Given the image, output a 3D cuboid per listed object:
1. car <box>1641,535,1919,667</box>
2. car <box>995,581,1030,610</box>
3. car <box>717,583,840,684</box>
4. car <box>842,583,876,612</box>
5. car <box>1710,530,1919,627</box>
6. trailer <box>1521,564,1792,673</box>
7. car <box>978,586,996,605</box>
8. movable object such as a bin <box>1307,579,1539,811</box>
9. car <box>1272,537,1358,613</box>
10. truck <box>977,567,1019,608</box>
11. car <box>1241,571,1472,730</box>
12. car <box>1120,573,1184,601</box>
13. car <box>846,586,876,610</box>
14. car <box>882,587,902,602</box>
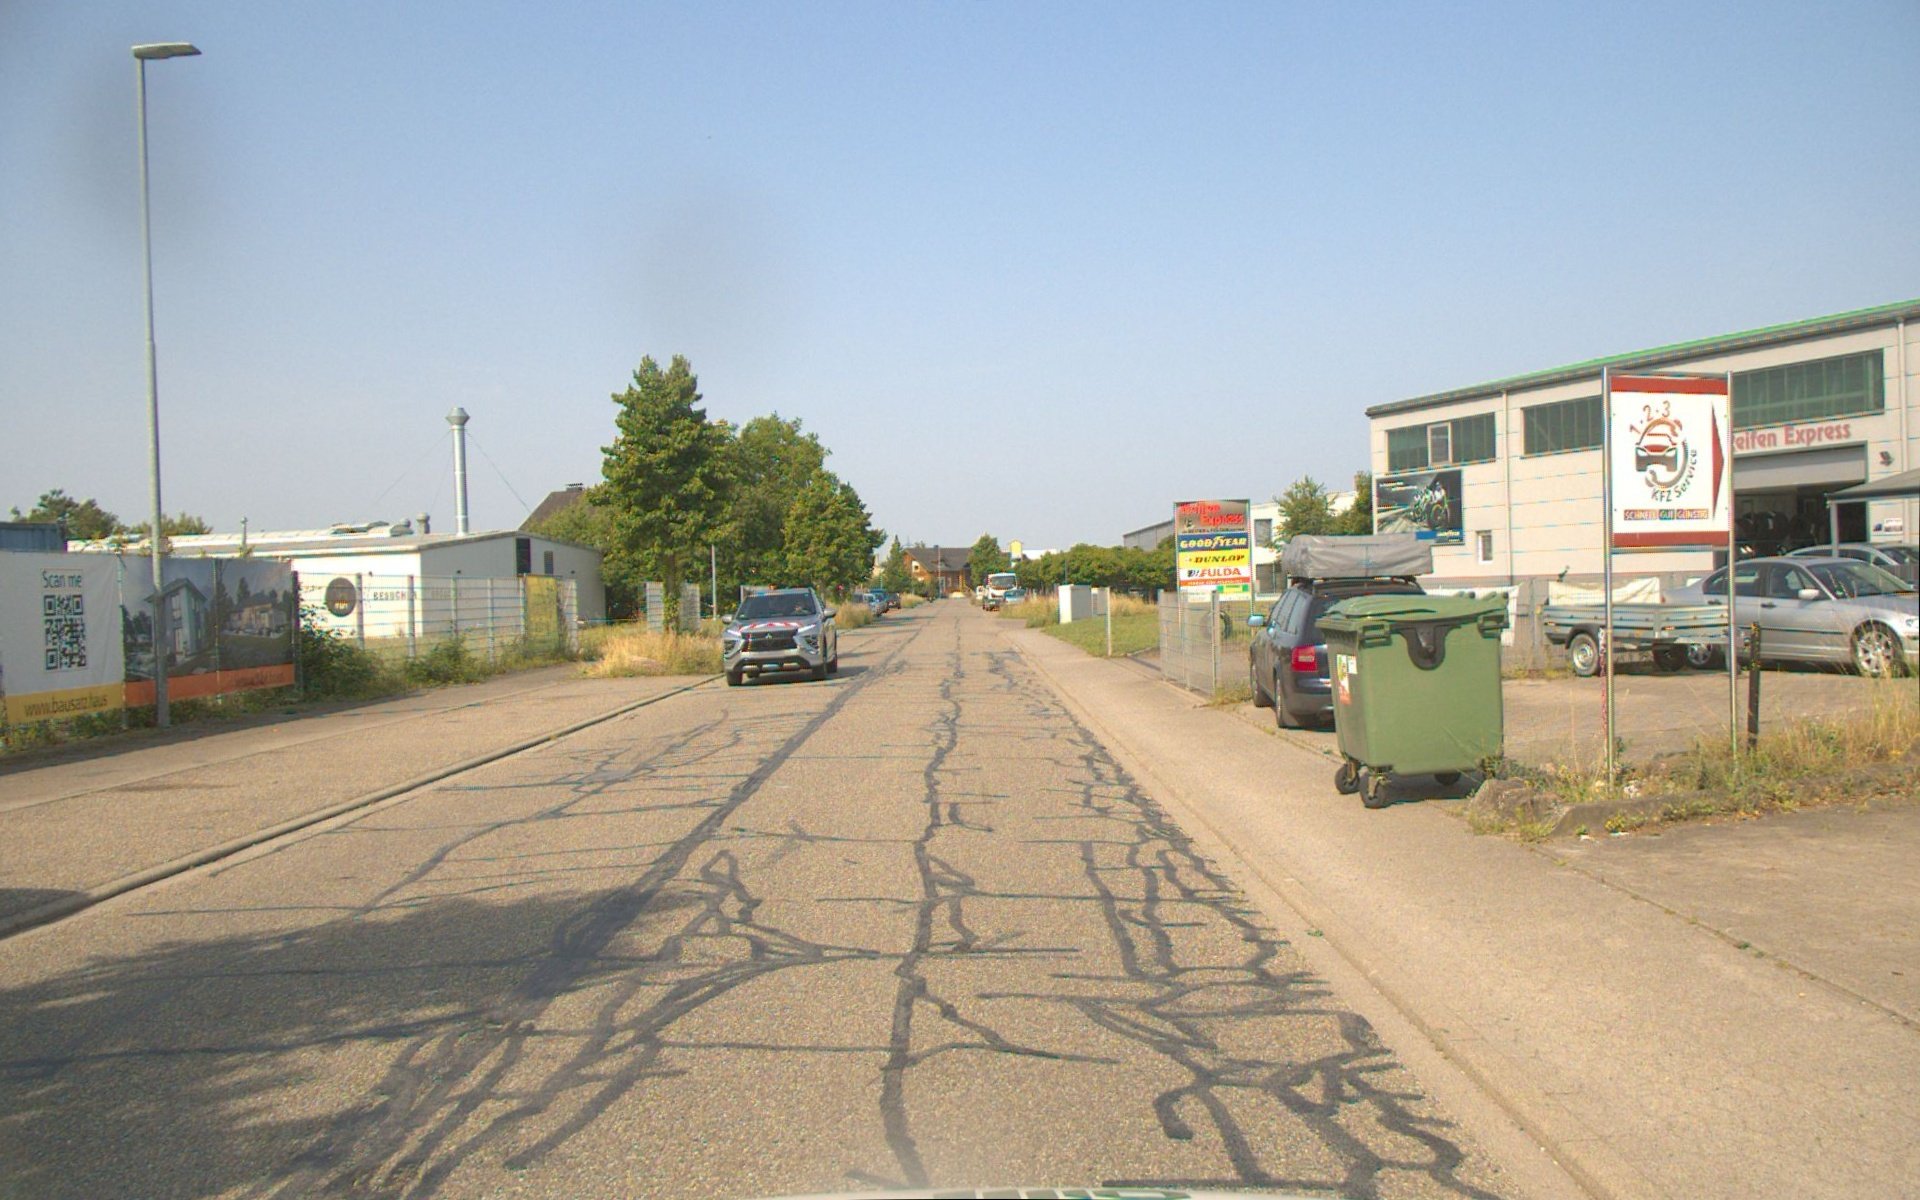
[{"bbox_3d":[10.865,-0.004,20.712,1.618,1.491,4.427,-2,0,-24],"label":"car"},{"bbox_3d":[2.993,-0.276,95.333,1.757,1.544,4.423,-3,0,-1],"label":"car"},{"bbox_3d":[-3.257,0.558,30.448,1.775,1.655,4.248,-3,0,-1],"label":"car"},{"bbox_3d":[-5.813,-0.173,95.412,1.534,1.565,3.689,-2,0,2],"label":"car"},{"bbox_3d":[15.486,-0.366,29.510,1.611,1.595,3.781,-2,0,-21],"label":"car"},{"bbox_3d":[8.771,0.209,21.018,1.472,1.270,2.952,-1,0,-26],"label":"trailer"},{"bbox_3d":[2.910,-0.526,181.306,1.800,1.957,3.756,-3,0,0],"label":"car"},{"bbox_3d":[3.068,0.589,11.149,1.059,1.376,1.506,-4,0,1],"label":"movable object such as a bin"},{"bbox_3d":[13.733,-0.957,64.332,1.934,2.752,5.880,-2,0,-1],"label":"car"},{"bbox_3d":[2.690,-0.904,118.924,2.313,2.728,6.506,-2,0,-4],"label":"truck"},{"bbox_3d":[3.995,0.443,17.310,1.638,1.392,4.396,-2,0,4],"label":"car"},{"bbox_3d":[12.502,-0.856,107.600,1.659,1.616,4.501,-2,1,45],"label":"car"},{"bbox_3d":[-6.303,-0.145,105.776,1.649,1.495,4.253,-1,0,0],"label":"car"},{"bbox_3d":[-6.311,-0.525,154.526,1.763,1.411,3.637,0,0,-1],"label":"car"}]
